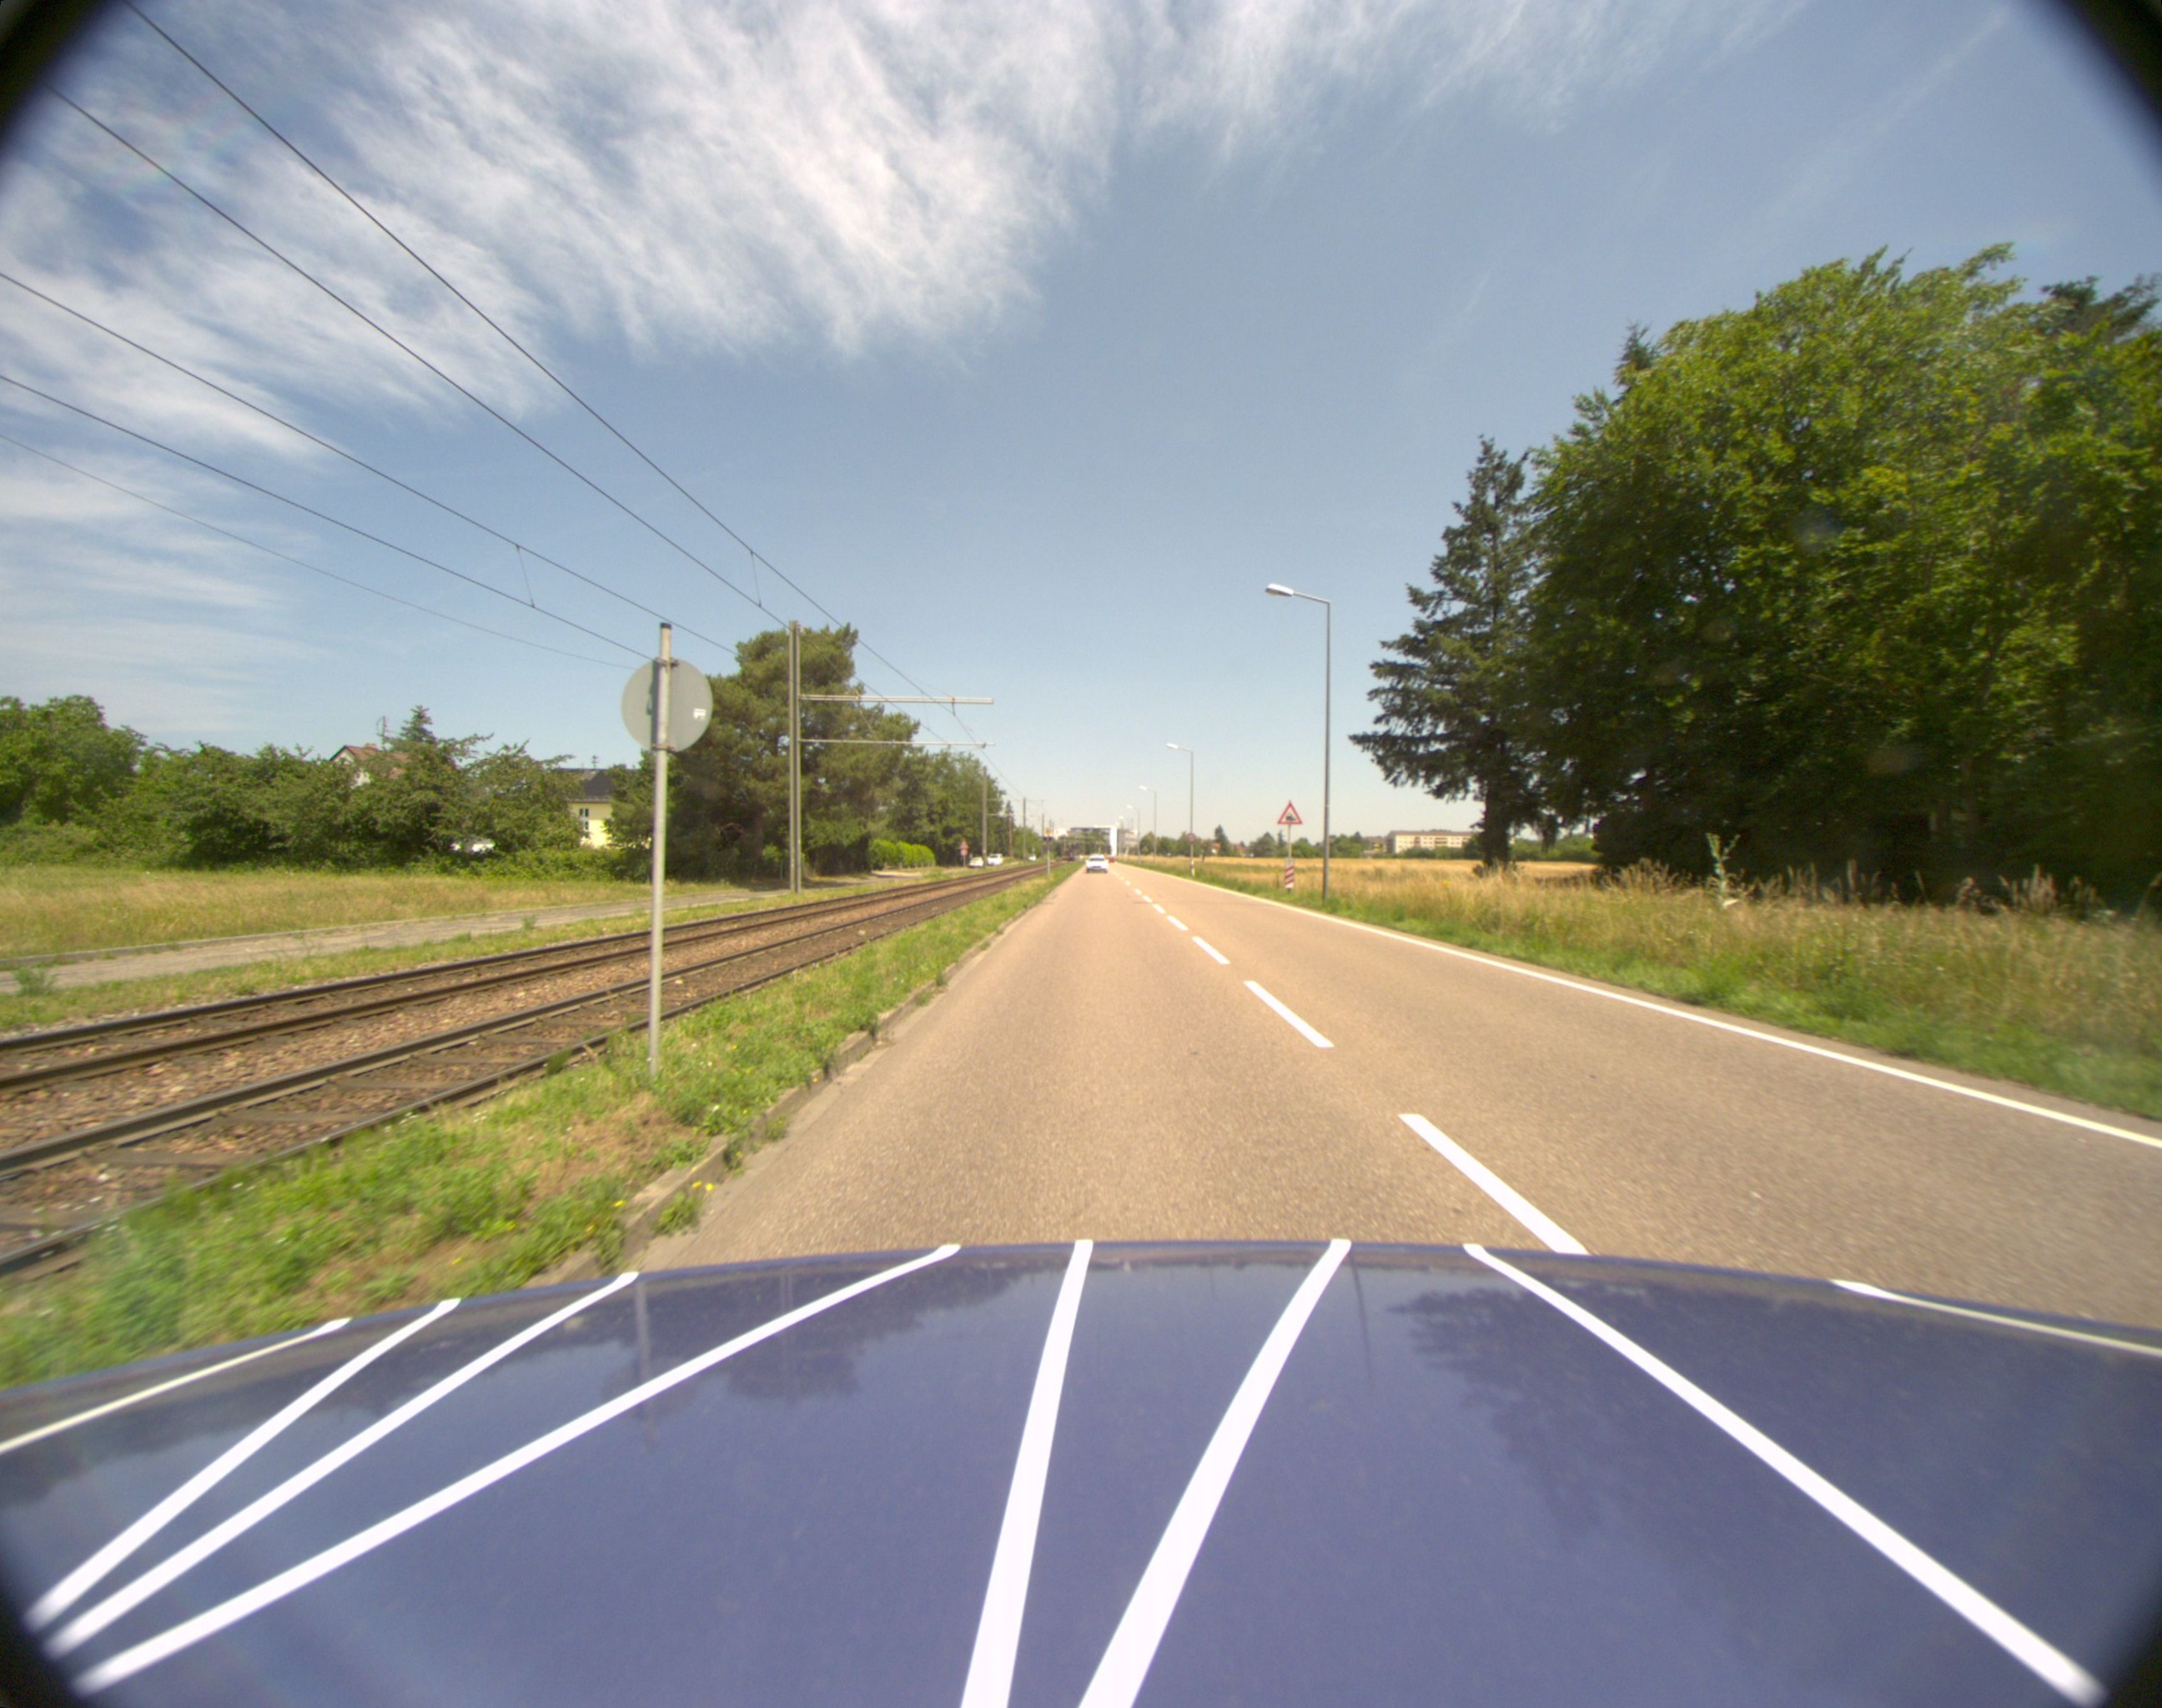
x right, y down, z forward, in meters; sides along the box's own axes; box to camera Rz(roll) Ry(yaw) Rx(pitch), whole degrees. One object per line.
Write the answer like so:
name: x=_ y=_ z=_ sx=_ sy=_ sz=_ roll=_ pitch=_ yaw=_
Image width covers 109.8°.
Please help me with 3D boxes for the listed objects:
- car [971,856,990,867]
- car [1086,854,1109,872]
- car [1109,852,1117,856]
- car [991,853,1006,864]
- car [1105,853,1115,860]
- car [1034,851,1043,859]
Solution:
car: x=-13.922 y=0.999 z=105.143 sx=1.922 sy=1.376 sz=4.000 roll=-1 pitch=0 yaw=1
car: x=1.414 y=0.742 z=63.747 sx=1.856 sy=1.447 sz=3.706 roll=-1 pitch=0 yaw=1
car: x=9.338 y=-0.031 z=223.207 sx=2.253 sy=1.254 sz=3.890 roll=-1 pitch=0 yaw=1
car: x=-13.543 y=0.725 z=124.926 sx=1.863 sy=1.816 sz=4.587 roll=-1 pitch=0 yaw=1
car: x=6.776 y=0.561 z=176.074 sx=2.253 sy=1.677 sz=3.890 roll=-1 pitch=0 yaw=1
car: x=-11.274 y=0.243 z=202.752 sx=1.944 sy=2.111 sz=4.587 roll=-1 pitch=0 yaw=1
